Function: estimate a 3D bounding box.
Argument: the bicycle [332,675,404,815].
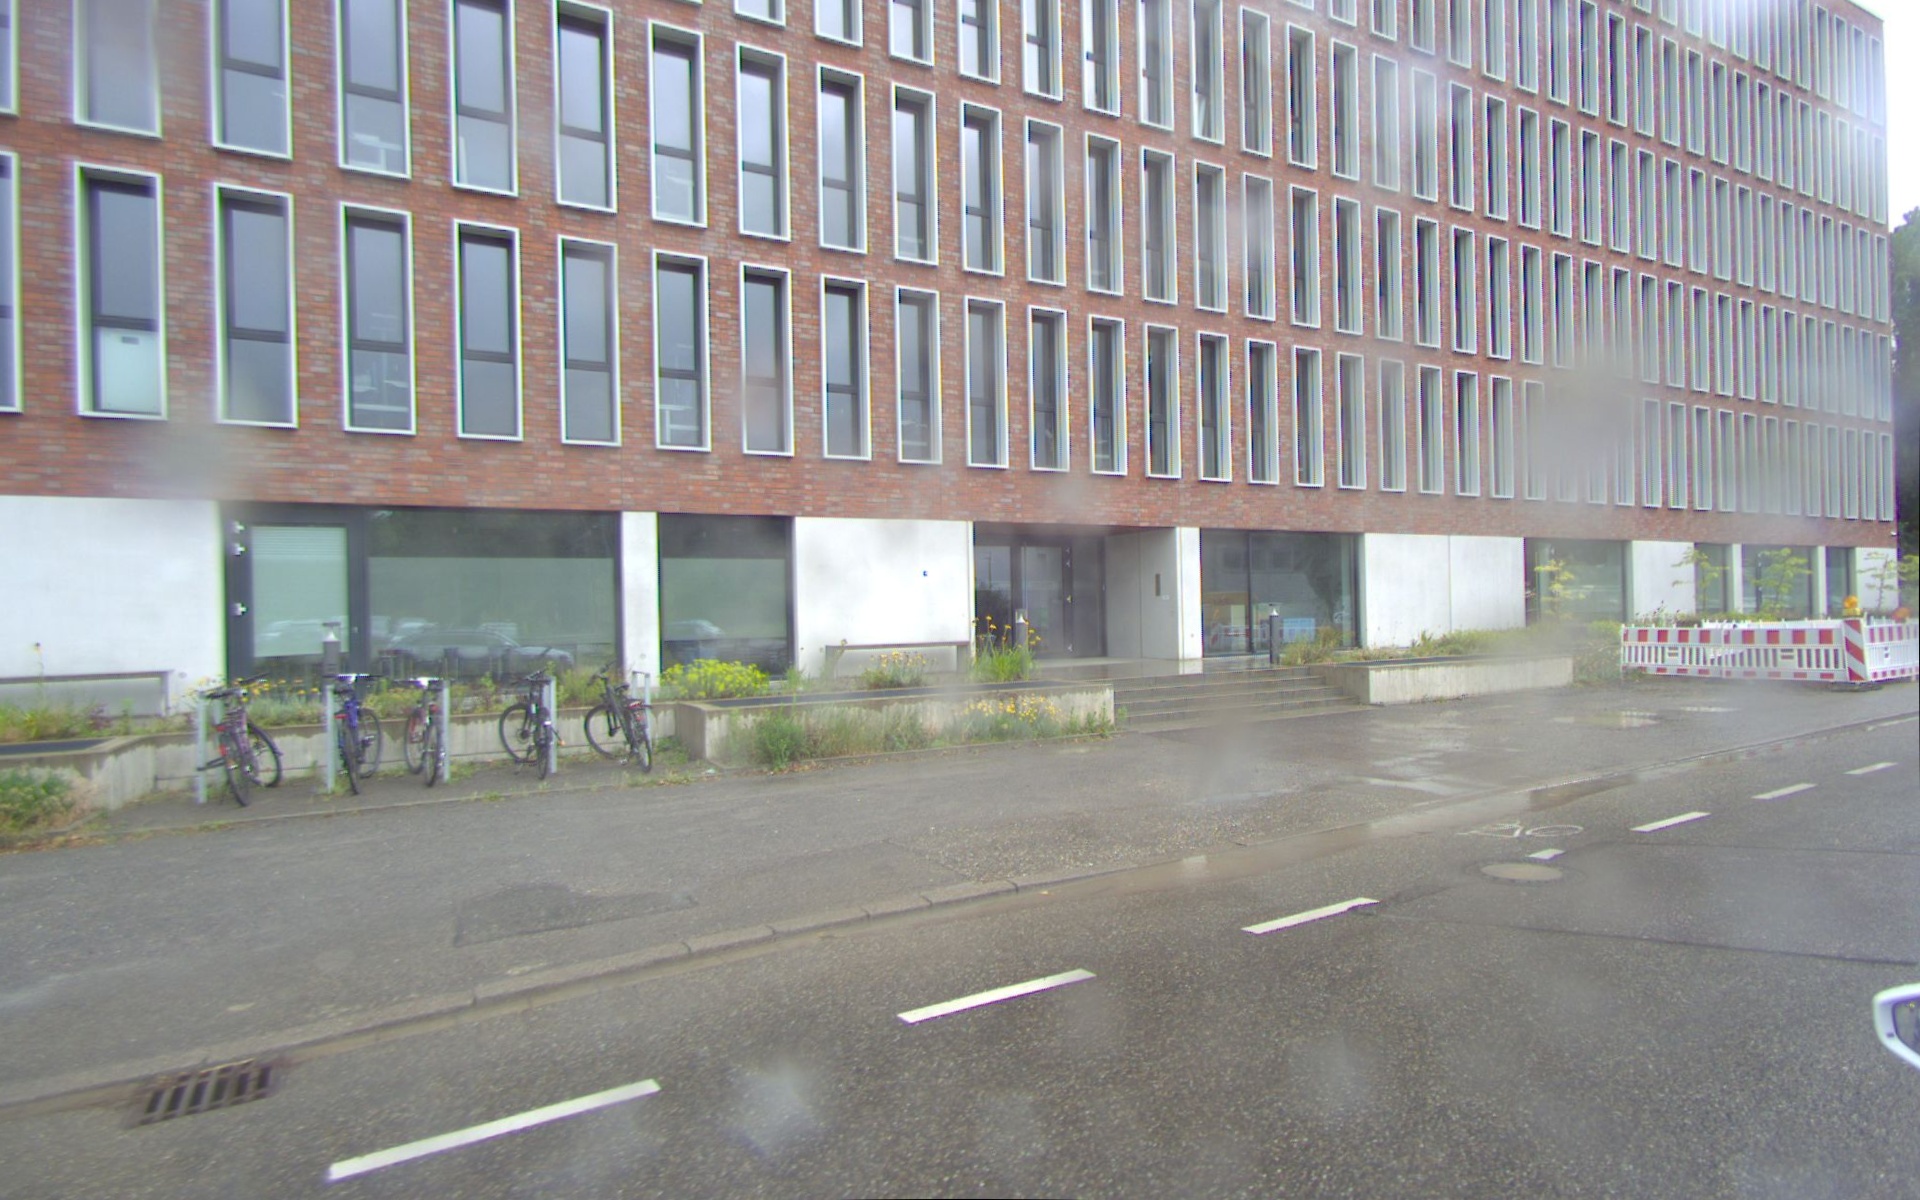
[{"bbox_3d":[-5.782,1.351,9.813,0.538,1.092,1.850,-1,0,-31],"label":"bicycle"}]

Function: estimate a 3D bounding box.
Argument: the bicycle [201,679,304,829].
[{"bbox_3d":[-6.528,1.361,9.342,0.613,1.092,1.938,-1,0,-31],"label":"bicycle"}]

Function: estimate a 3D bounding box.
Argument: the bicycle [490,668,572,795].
[{"bbox_3d":[-4.522,1.321,10.535,0.538,1.092,1.850,-1,0,-31],"label":"bicycle"}]

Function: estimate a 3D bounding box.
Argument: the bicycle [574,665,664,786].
[{"bbox_3d":[-3.753,1.313,10.970,0.538,1.092,1.850,-1,0,-31],"label":"bicycle"}]

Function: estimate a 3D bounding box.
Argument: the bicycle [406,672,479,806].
[{"bbox_3d":[-5.250,1.342,10.144,0.538,1.092,1.850,-1,0,-31],"label":"bicycle"}]
